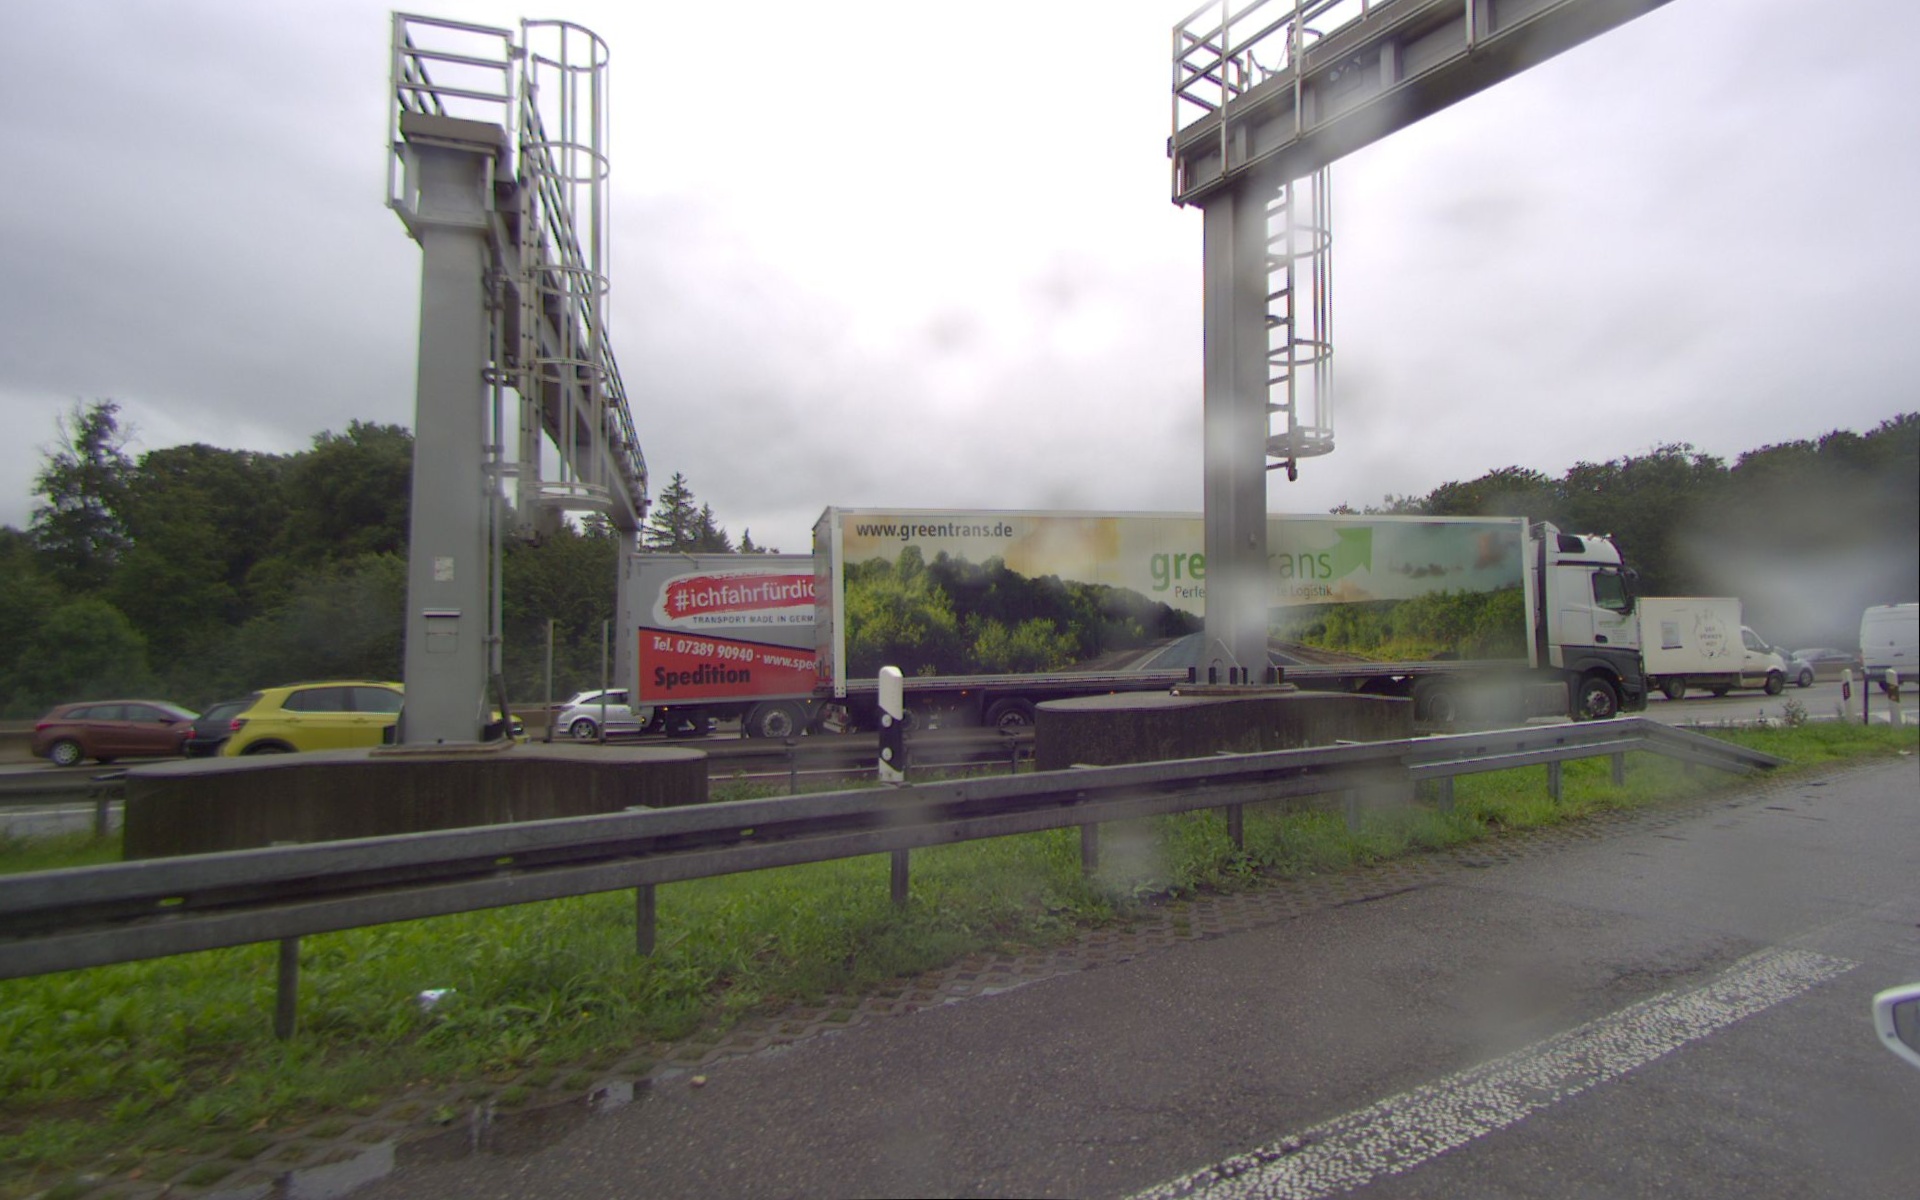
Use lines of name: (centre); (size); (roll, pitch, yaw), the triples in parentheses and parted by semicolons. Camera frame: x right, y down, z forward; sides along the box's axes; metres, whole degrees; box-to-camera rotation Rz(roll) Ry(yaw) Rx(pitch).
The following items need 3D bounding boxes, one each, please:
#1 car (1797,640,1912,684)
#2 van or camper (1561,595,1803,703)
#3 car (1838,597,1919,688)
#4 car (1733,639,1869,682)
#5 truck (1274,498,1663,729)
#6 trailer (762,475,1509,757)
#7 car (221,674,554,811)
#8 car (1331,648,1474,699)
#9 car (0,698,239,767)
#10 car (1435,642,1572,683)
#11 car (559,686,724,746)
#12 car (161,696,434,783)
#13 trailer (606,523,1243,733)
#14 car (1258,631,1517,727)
car: (37.885, 2.611, 42.562); (3.934, 1.728, 1.777); (0, -4, -16)
van or camper: (23.508, 1.582, 32.749); (7.015, 3.245, 2.580); (0, -4, -17)
car: (30.714, 1.303, 31.282); (5.748, 2.663, 2.216); (0, -4, -17)
car: (33.360, 2.394, 39.861); (4.554, 1.542, 1.867); (0, -4, -17)
truck: (10.119, 0.326, 20.249); (6.606, 4.152, 2.920); (0, -4, -15)
trailer: (3.294, 0.322, 18.357); (13.408, 4.259, 2.920); (0, -4, -15)
car: (-8.687, 2.115, 15.674); (4.170, 1.817, 1.794); (0, -3, -16)
car: (14.889, 2.467, 33.858); (4.342, 1.542, 1.616); (0, -4, -16)
car: (-20.281, 3.162, 24.258); (4.303, 1.412, 1.707); (0, -3, -14)
car: (20.989, 2.397, 38.798); (4.754, 1.443, 1.745); (0, -4, -16)
car: (-8.648, 3.131, 27.572); (4.158, 1.427, 1.806); (0, -4, -16)
car: (-14.076, 2.941, 21.660); (4.463, 1.550, 1.995); (0, -3, -15)
trailer: (-0.509, 0.552, 21.937); (13.453, 3.913, 2.628); (-1, -4, -17)
car: (12.609, 2.282, 29.664); (7.244, 2.520, 2.149); (0, -4, -16)
